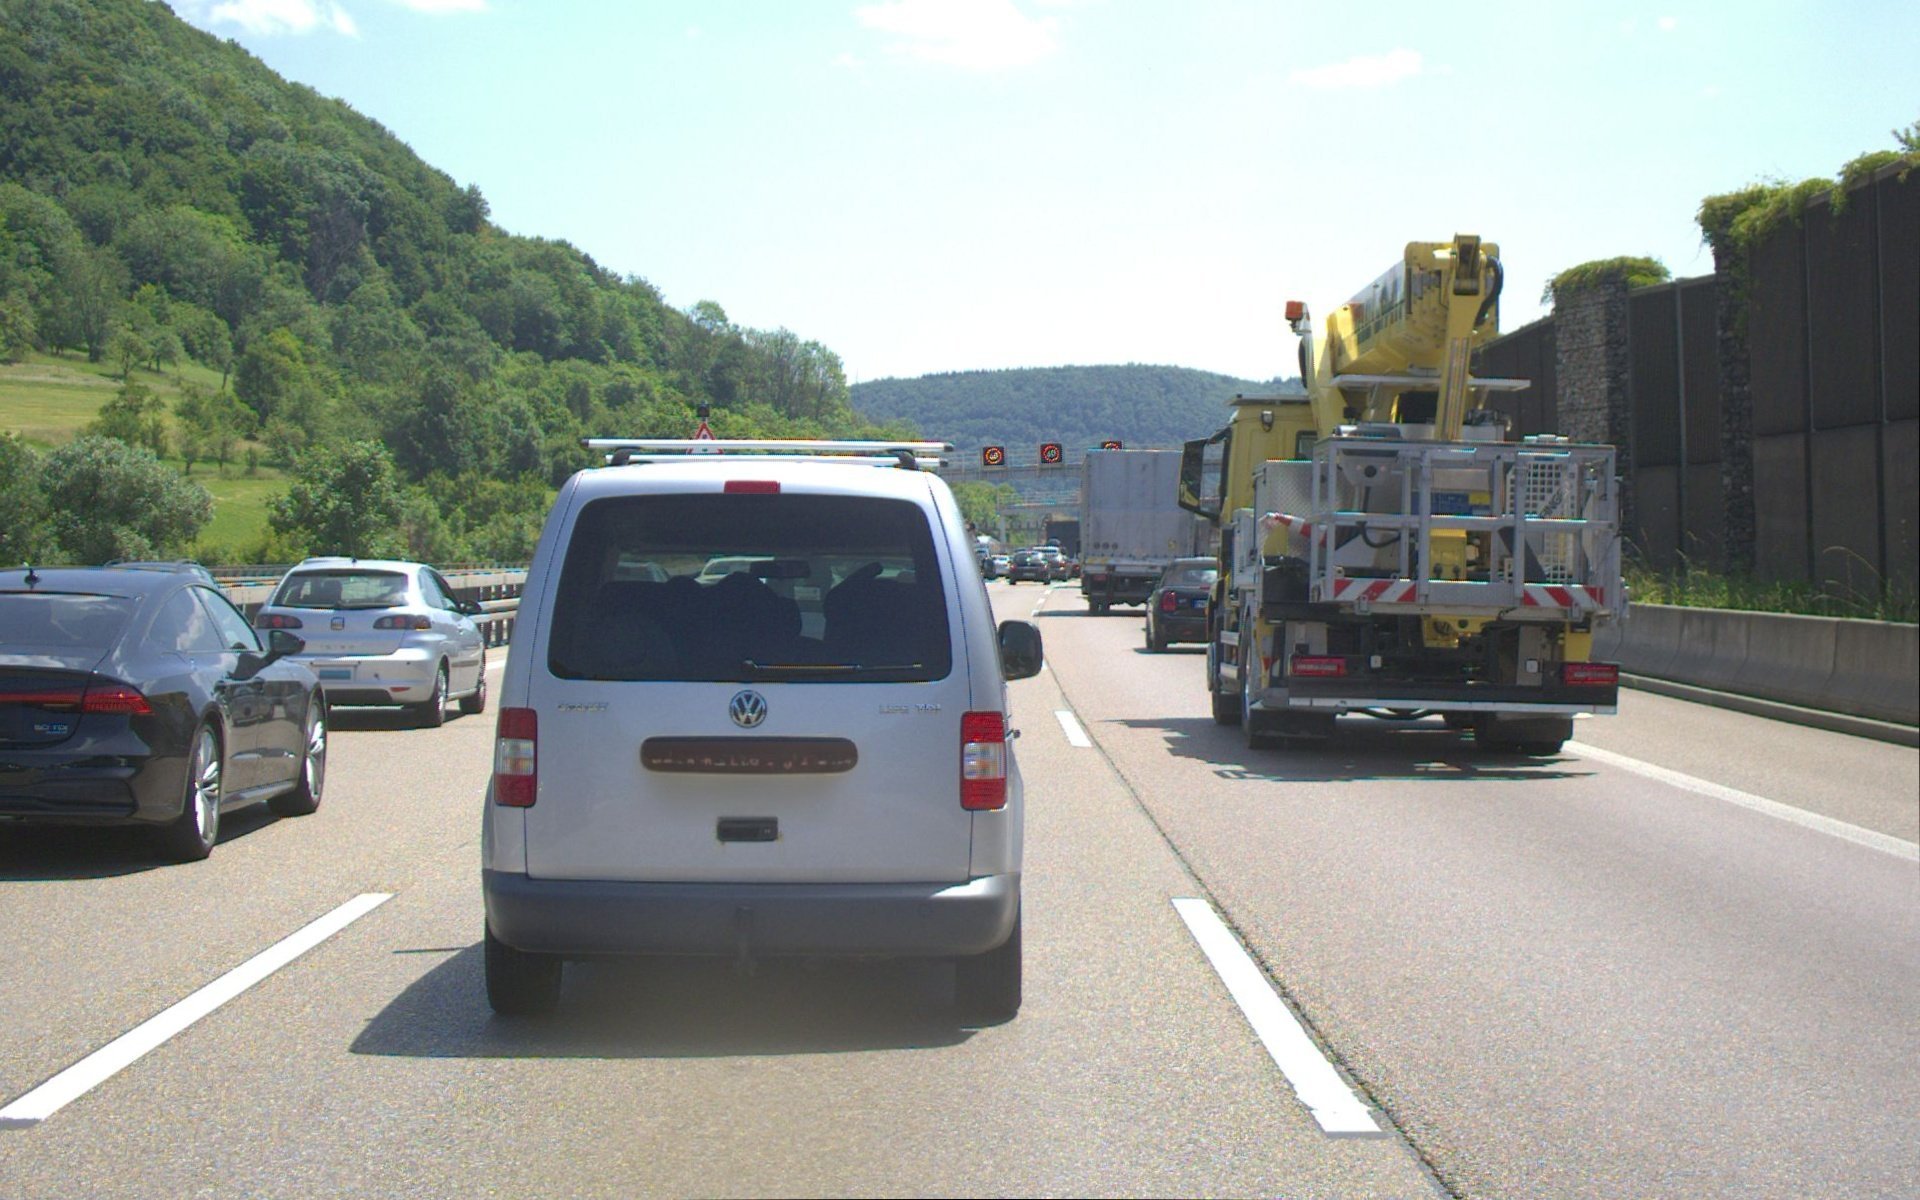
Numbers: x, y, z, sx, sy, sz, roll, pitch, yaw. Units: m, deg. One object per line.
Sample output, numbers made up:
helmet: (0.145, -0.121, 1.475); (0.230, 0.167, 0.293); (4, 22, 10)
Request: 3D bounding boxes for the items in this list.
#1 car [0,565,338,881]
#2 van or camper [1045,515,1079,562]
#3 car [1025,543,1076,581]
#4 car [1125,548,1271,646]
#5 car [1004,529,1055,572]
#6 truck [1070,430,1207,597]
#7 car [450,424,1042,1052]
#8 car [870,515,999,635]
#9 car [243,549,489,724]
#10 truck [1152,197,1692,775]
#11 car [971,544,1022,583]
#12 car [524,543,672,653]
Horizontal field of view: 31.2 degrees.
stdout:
car: (-4.528, 0.527, 17.893); (1.800, 1.385, 4.970); (0, 1, -1)
van or camper: (6.595, -3.983, 222.760); (1.993, 2.943, 5.423); (1, 0, -1)
car: (4.421, -1.848, 167.994); (2.114, 1.821, 4.001); (1, 0, -4)
car: (3.643, -0.070, 53.234); (1.786, 1.453, 3.771); (0, 1, -3)
car: (2.907, -2.068, 144.178); (1.993, 1.743, 4.000); (1, 0, 0)
truck: (4.268, -2.030, 83.810); (2.940, 3.810, 8.236); (1, 0, 1)
car: (-0.749, 0.376, 12.228); (1.756, 1.861, 4.001); (0, 1, -3)
car: (-0.476, -0.448, 58.732); (1.993, 1.969, 4.001); (0, 1, -3)
car: (-5.177, 0.275, 30.355); (1.695, 1.440, 3.862); (0, 1, -3)
truck: (3.404, -0.846, 27.833); (2.703, 3.929, 8.723); (0, 1, -3)
car: (1.705, -1.726, 163.521); (2.114, 1.821, 4.001); (1, 0, -4)
car: (-5.151, -0.062, 49.322); (1.924, 1.494, 4.001); (1, 1, -3)
